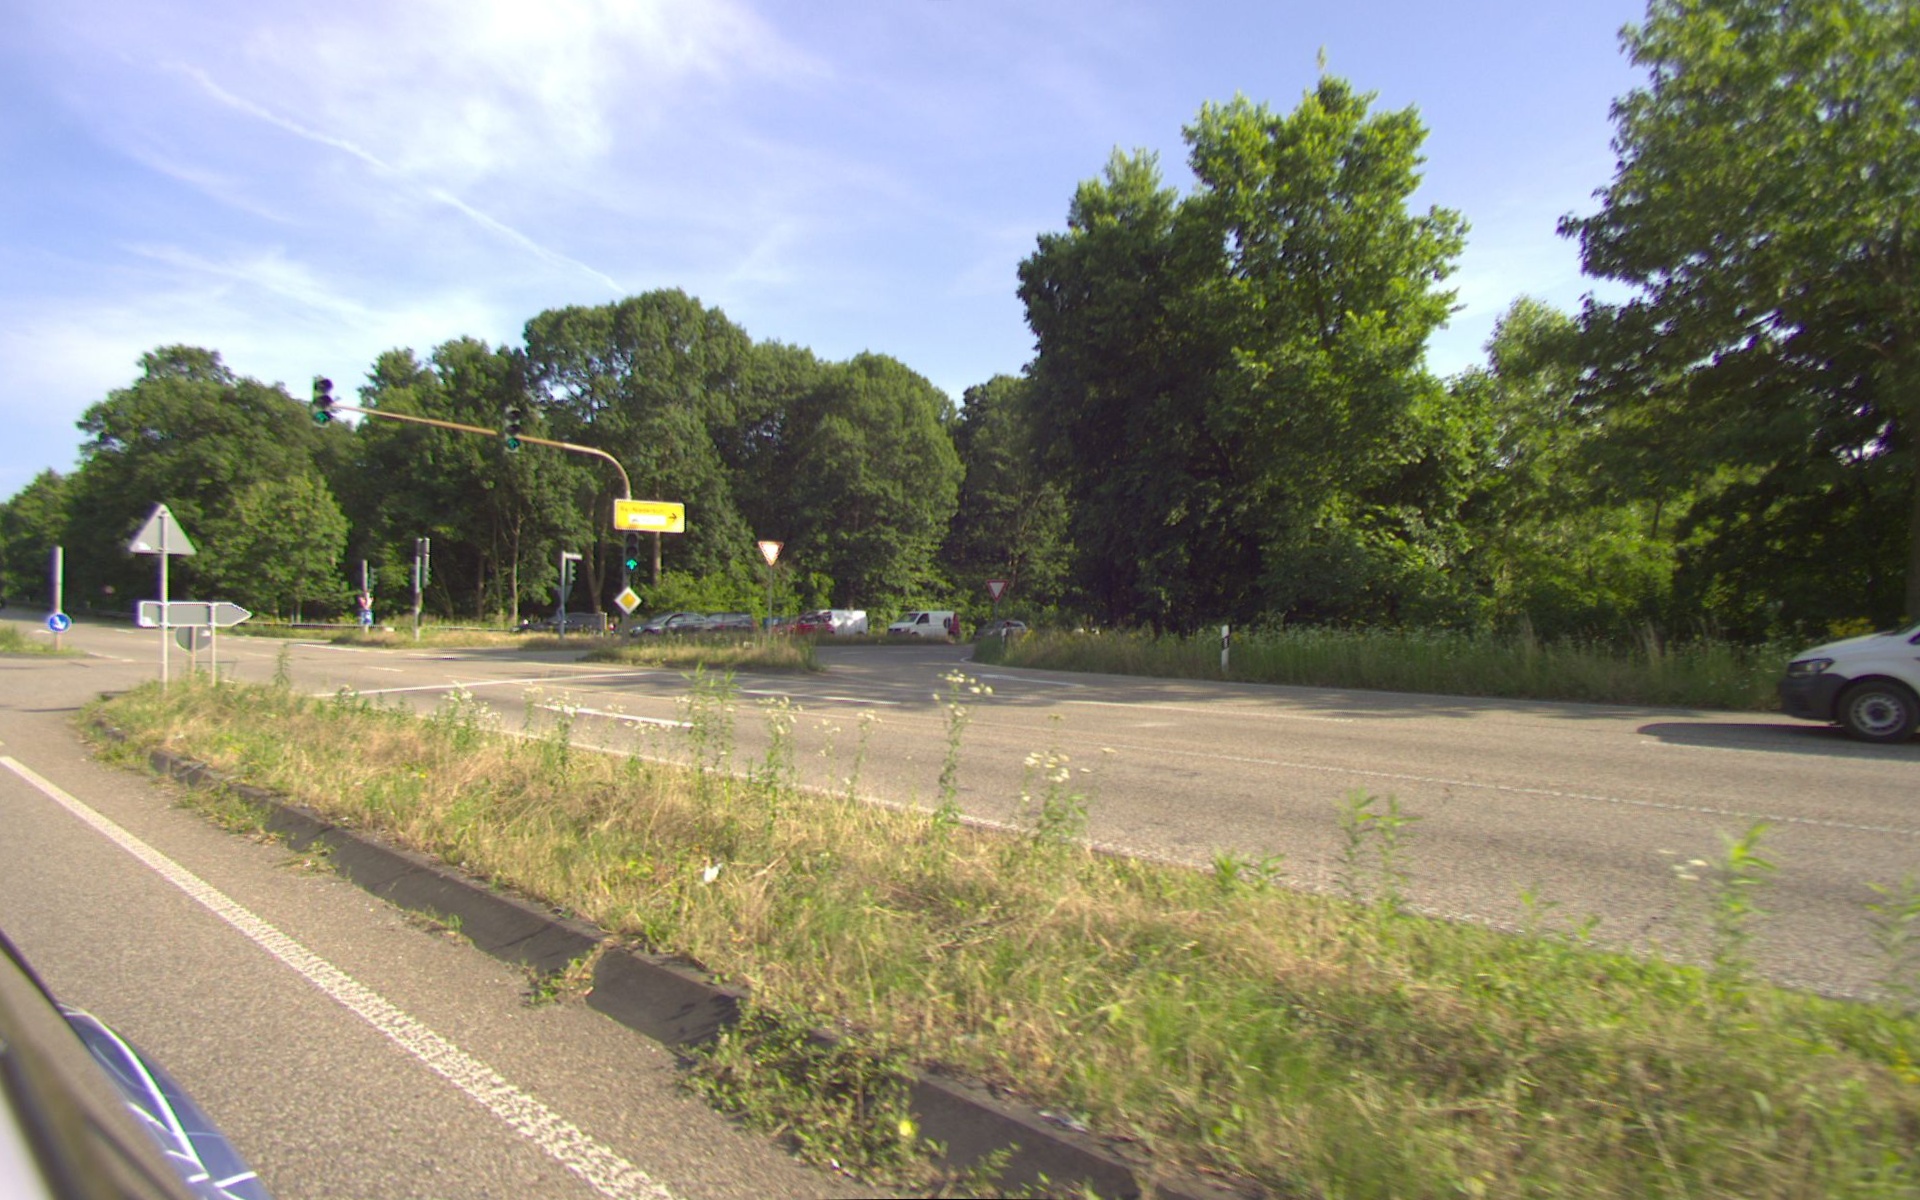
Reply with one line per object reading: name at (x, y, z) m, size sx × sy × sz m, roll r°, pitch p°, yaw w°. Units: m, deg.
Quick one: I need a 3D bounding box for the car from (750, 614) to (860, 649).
car at (-7.499, 1.492, 49.238) m, size 4.914 × 1.501 × 2.210 m, roll 0°, pitch 0°, yaw -43°

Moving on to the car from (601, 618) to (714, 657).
car at (-13.054, 1.571, 43.879) m, size 1.997 × 1.501 × 4.366 m, roll 0°, pitch 0°, yaw 37°

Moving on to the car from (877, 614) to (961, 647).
car at (-2.366, 1.756, 59.250) m, size 4.582 × 1.740 × 2.194 m, roll 0°, pitch 0°, yaw -43°

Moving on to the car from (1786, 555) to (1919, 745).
car at (10.667, 0.471, 9.251) m, size 1.829 × 1.800 × 4.673 m, roll 0°, pitch 0°, yaw -44°

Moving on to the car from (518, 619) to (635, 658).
car at (-16.737, 1.634, 44.252) m, size 4.353 × 1.501 × 2.003 m, roll 0°, pitch 0°, yaw -42°

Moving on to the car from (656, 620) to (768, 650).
car at (-12.555, 1.748, 51.294) m, size 5.116 × 1.353 × 2.058 m, roll 0°, pitch 0°, yaw -31°

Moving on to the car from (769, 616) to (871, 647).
car at (-7.538, 1.645, 54.710) m, size 4.993 × 1.501 × 2.450 m, roll 0°, pitch 0°, yaw -43°

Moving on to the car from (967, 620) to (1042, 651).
car at (2.836, 2.212, 64.136) m, size 4.582 × 1.740 × 2.137 m, roll 0°, pitch 0°, yaw -43°

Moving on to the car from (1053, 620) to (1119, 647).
car at (8.901, 2.311, 71.145) m, size 4.582 × 1.740 × 2.137 m, roll 0°, pitch 0°, yaw -43°

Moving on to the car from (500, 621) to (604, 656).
car at (-19.324, 1.810, 48.123) m, size 4.483 × 1.501 × 2.006 m, roll 0°, pitch 0°, yaw -20°
